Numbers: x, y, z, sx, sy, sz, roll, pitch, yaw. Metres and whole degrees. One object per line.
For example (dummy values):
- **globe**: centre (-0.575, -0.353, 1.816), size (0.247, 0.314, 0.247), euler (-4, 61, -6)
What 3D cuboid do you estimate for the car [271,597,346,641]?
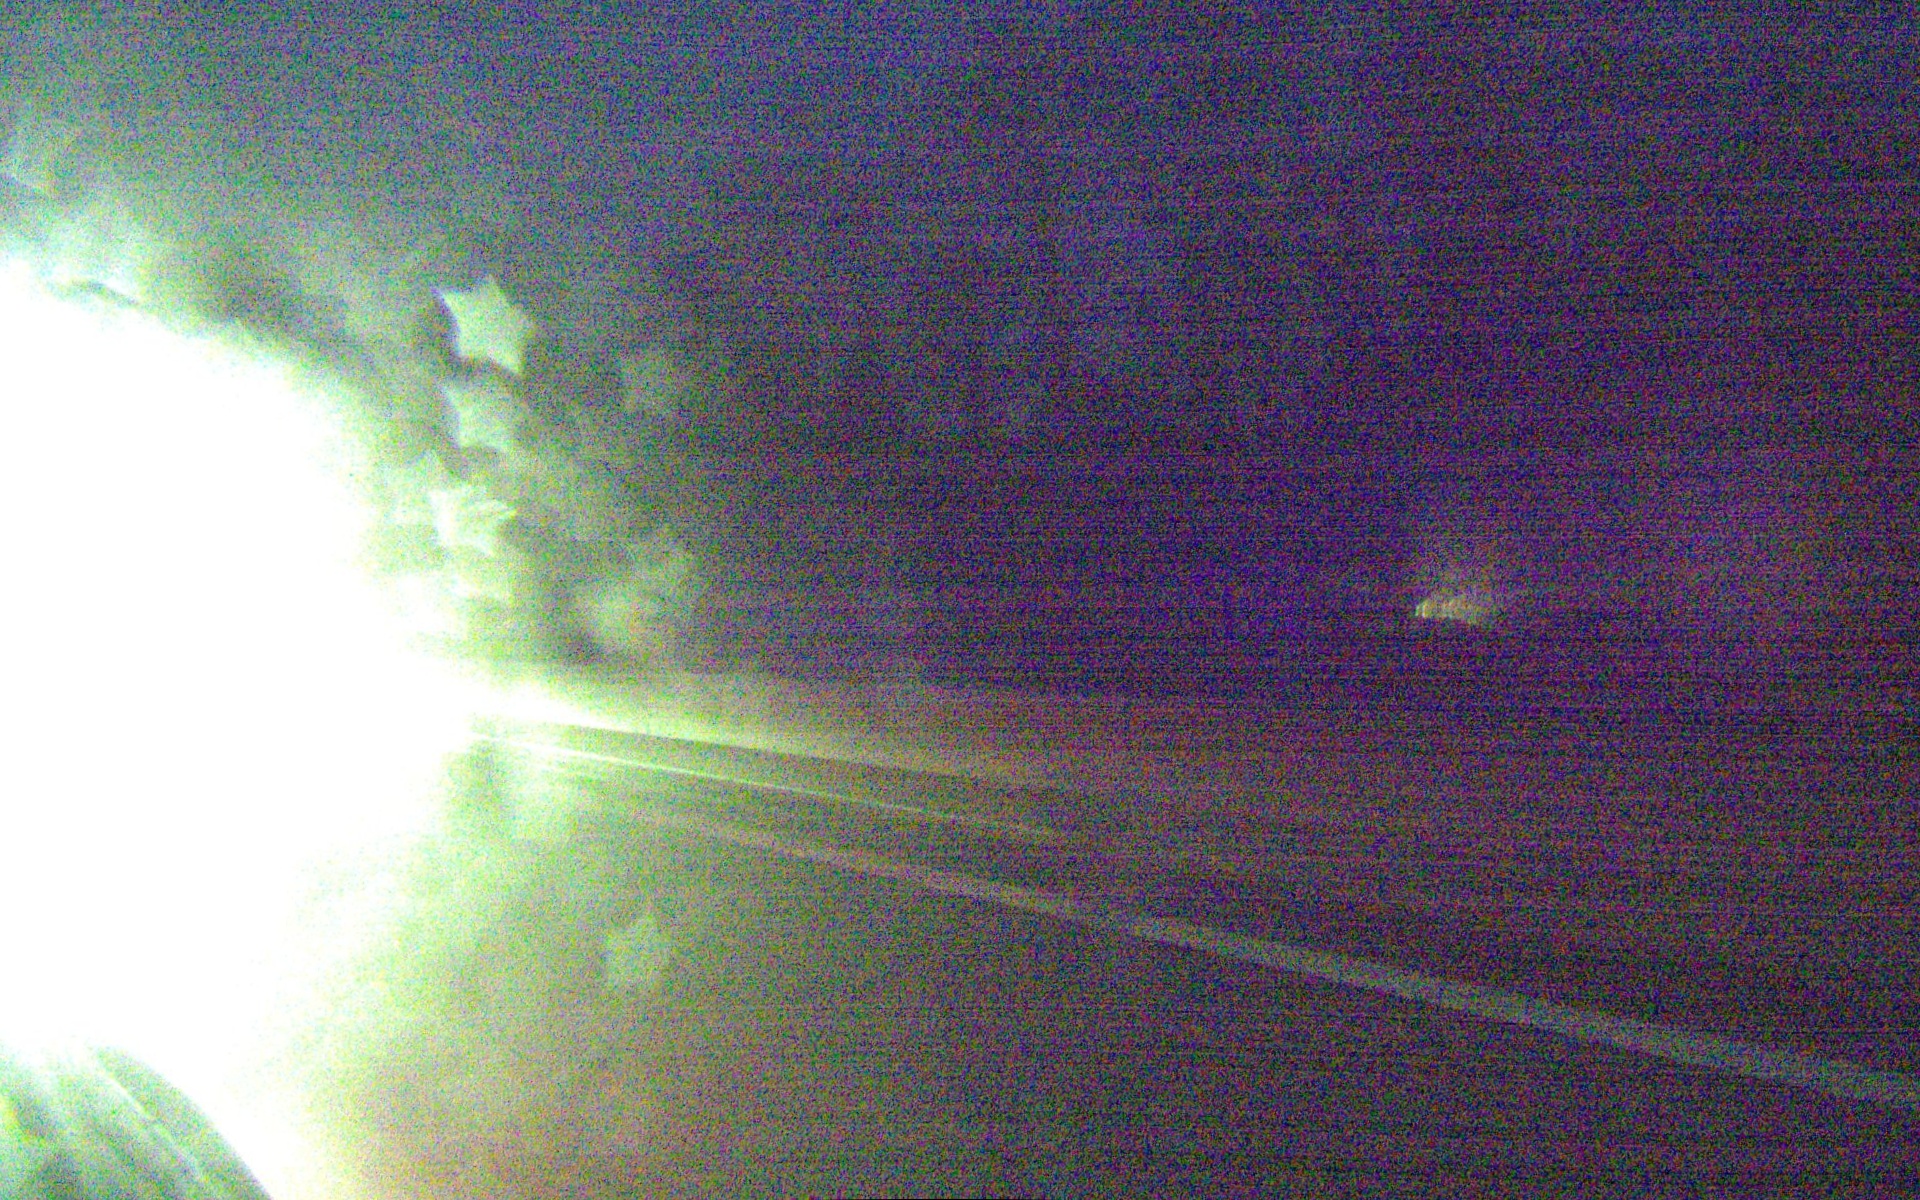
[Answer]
- **car**: centre (-31.600, 0.950, 49.075), size (3.999, 1.866, 1.973), euler (-3, 2, 42)

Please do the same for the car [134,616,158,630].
- **car**: centre (-103.154, 2.891, 128.221), size (1.970, 1.489, 4.004), euler (-6, 2, -43)

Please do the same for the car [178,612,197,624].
- **car**: centre (-118.016, 2.817, 154.624), size (1.969, 1.616, 4.006), euler (-6, 2, -40)

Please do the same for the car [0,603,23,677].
- **car**: centre (-28.418, 1.204, 29.038), size (1.969, 2.028, 4.006), euler (-4, 1, -40)
